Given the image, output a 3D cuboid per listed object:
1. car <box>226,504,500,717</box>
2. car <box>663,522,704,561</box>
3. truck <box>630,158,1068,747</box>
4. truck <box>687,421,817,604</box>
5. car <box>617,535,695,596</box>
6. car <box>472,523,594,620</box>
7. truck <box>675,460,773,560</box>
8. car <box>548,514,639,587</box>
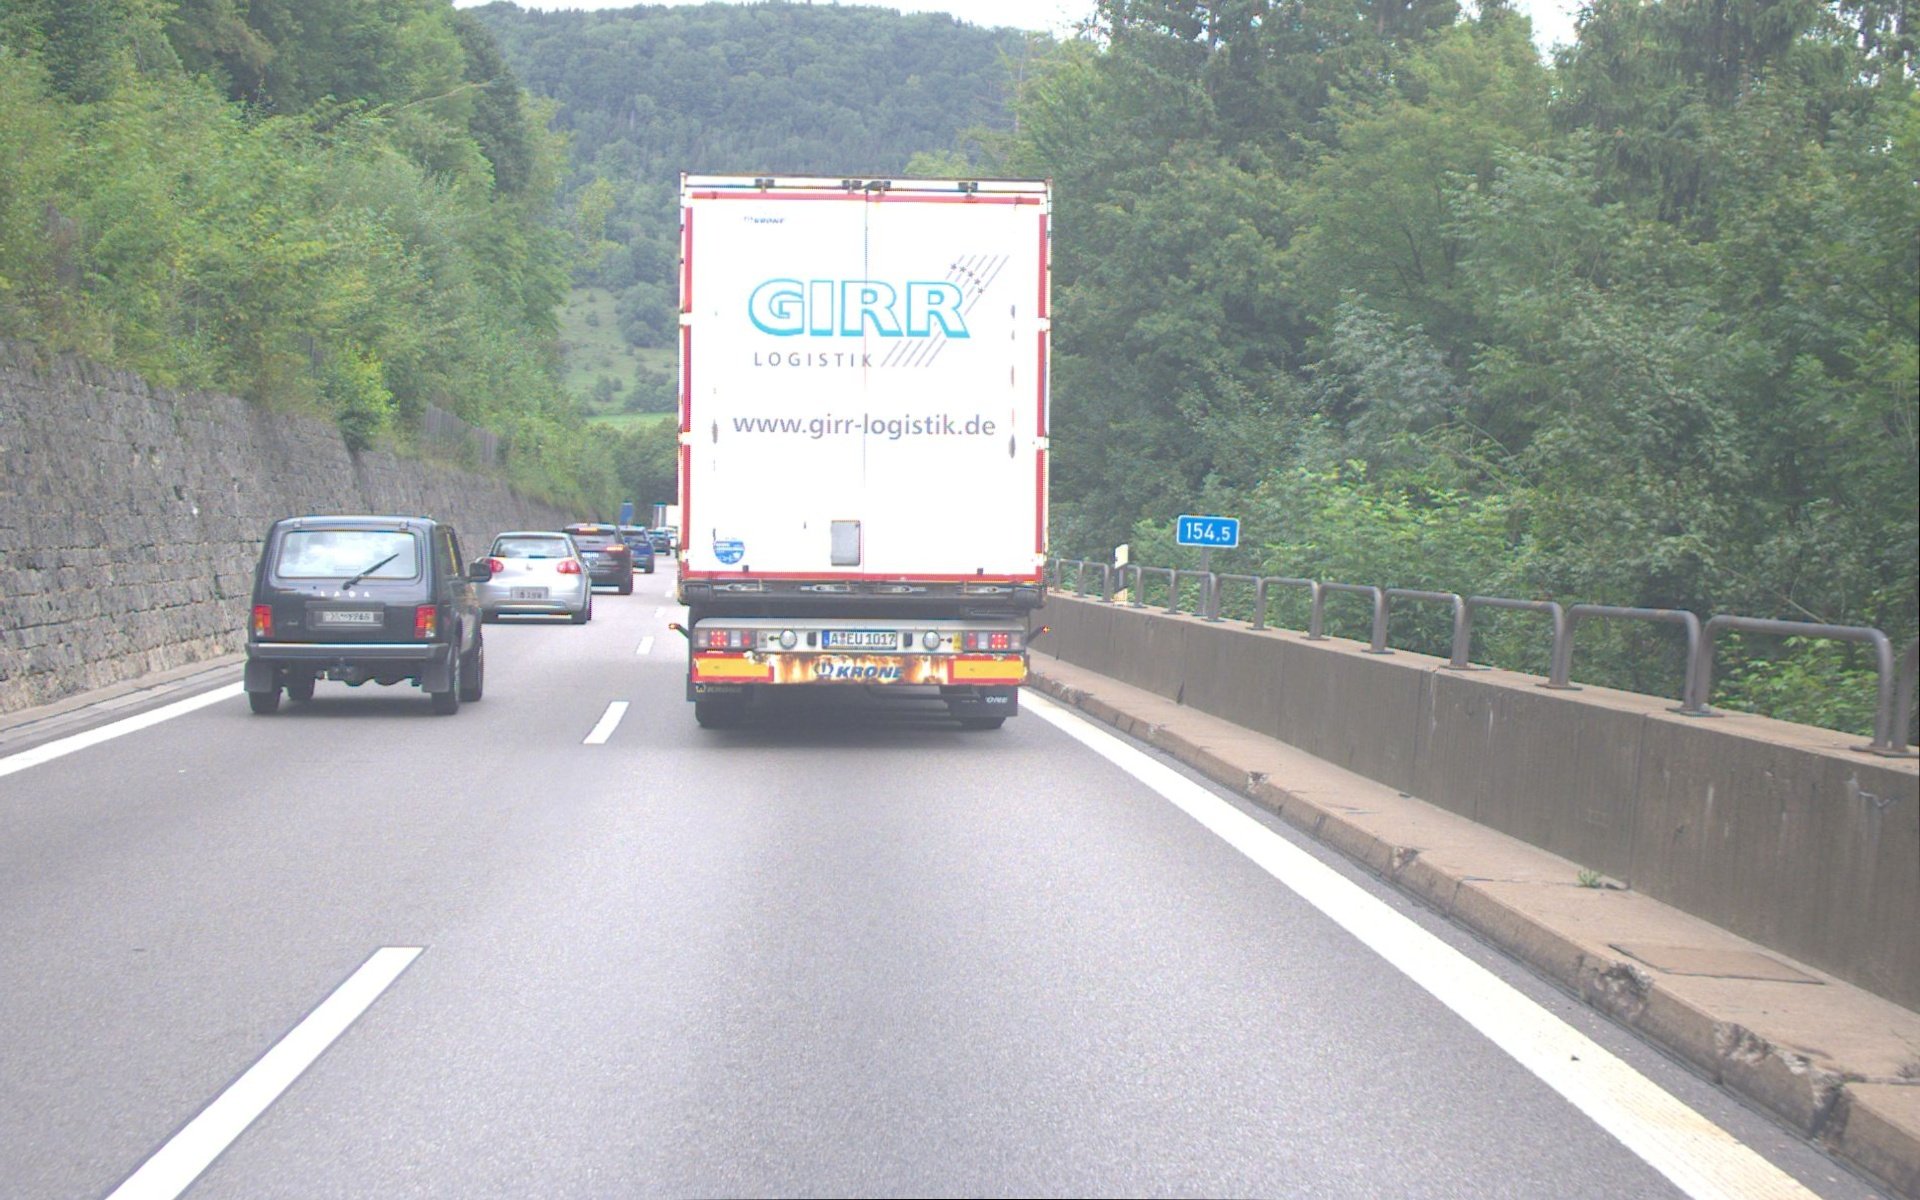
[{"bbox_3d":[-4.908,0.054,28.745,1.669,1.633,4.068,1,1,-2],"label":"car"},{"bbox_3d":[-14.858,-3.159,184.926,1.993,2.007,4.000,1,0,-3],"label":"car"},{"bbox_3d":[-0.845,-1.076,27.944,2.908,3.947,9.279,1,1,-1],"label":"truck"},{"bbox_3d":[-4.466,-1.781,72.347,2.486,3.559,9.310,1,1,-5],"label":"truck"},{"bbox_3d":[-10.304,-1.163,116.619,1.994,2.007,3.999,1,0,4],"label":"car"},{"bbox_3d":[-6.823,-0.469,55.246,1.729,1.481,4.001,1,1,-4],"label":"car"},{"bbox_3d":[-9.675,-3.645,142.355,3.510,3.834,11.777,1,0,-2],"label":"truck"},{"bbox_3d":[-8.380,-1.134,78.847,1.916,1.589,4.180,1,1,-4],"label":"car"}]
